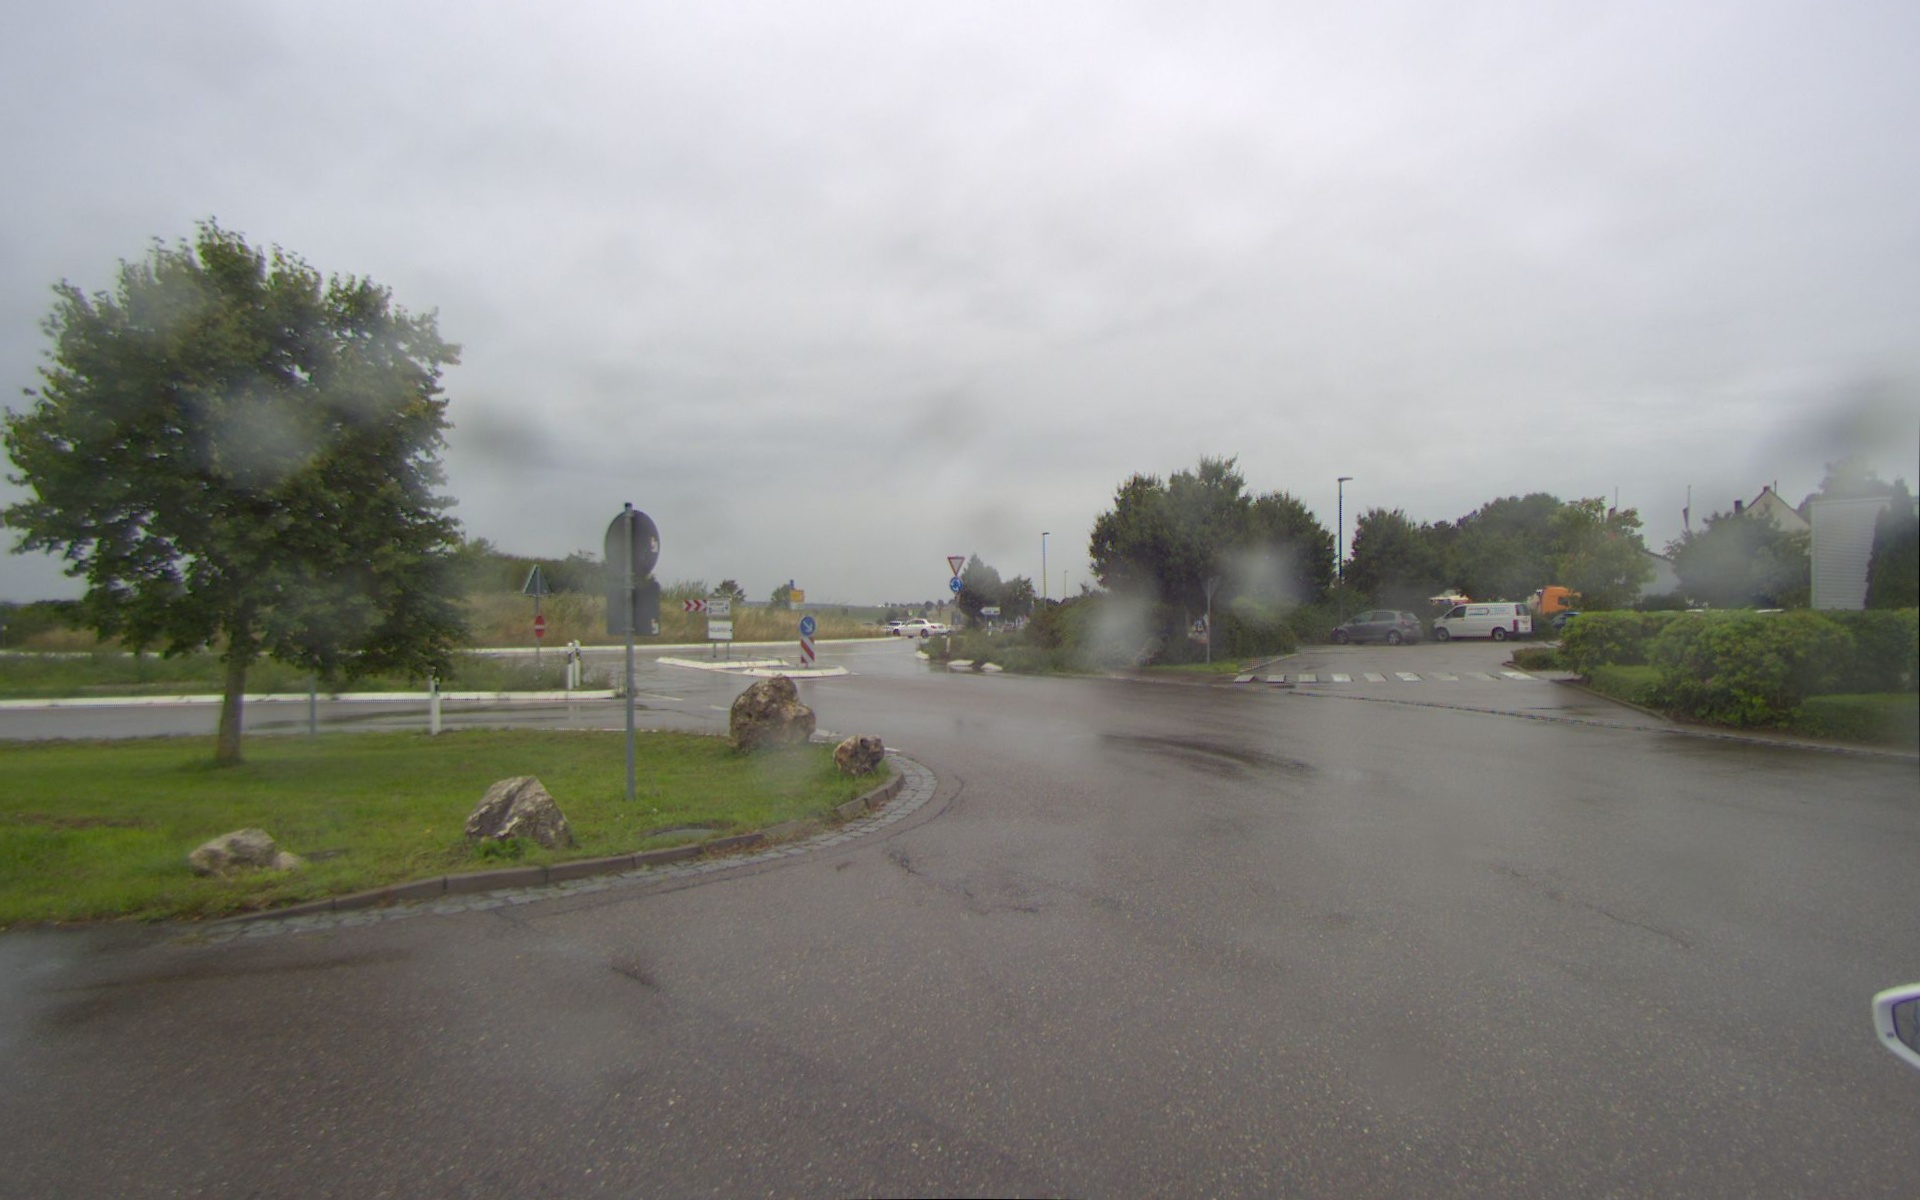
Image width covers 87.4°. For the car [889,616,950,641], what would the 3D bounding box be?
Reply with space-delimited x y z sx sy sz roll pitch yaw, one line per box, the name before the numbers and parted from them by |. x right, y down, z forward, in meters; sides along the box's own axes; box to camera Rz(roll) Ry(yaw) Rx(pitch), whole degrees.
car | -3.024 2.132 74.599 4.294 1.782 1.743 -2 -2 35

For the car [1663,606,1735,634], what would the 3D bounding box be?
car | 41.463 1.136 56.470 1.553 1.477 3.682 -1 -1 5

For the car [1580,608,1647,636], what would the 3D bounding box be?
car | 36.449 1.244 56.140 1.553 1.477 3.682 -1 -1 5

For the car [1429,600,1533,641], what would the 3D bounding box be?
car | 26.947 1.067 52.080 1.630 2.060 4.485 -1 -1 -38

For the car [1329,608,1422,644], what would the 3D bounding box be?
car | 19.019 1.197 46.053 1.438 1.571 3.703 -1 -1 -39

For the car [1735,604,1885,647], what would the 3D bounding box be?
car | 32.385 0.981 38.357 1.703 1.517 4.142 0 -1 -39
